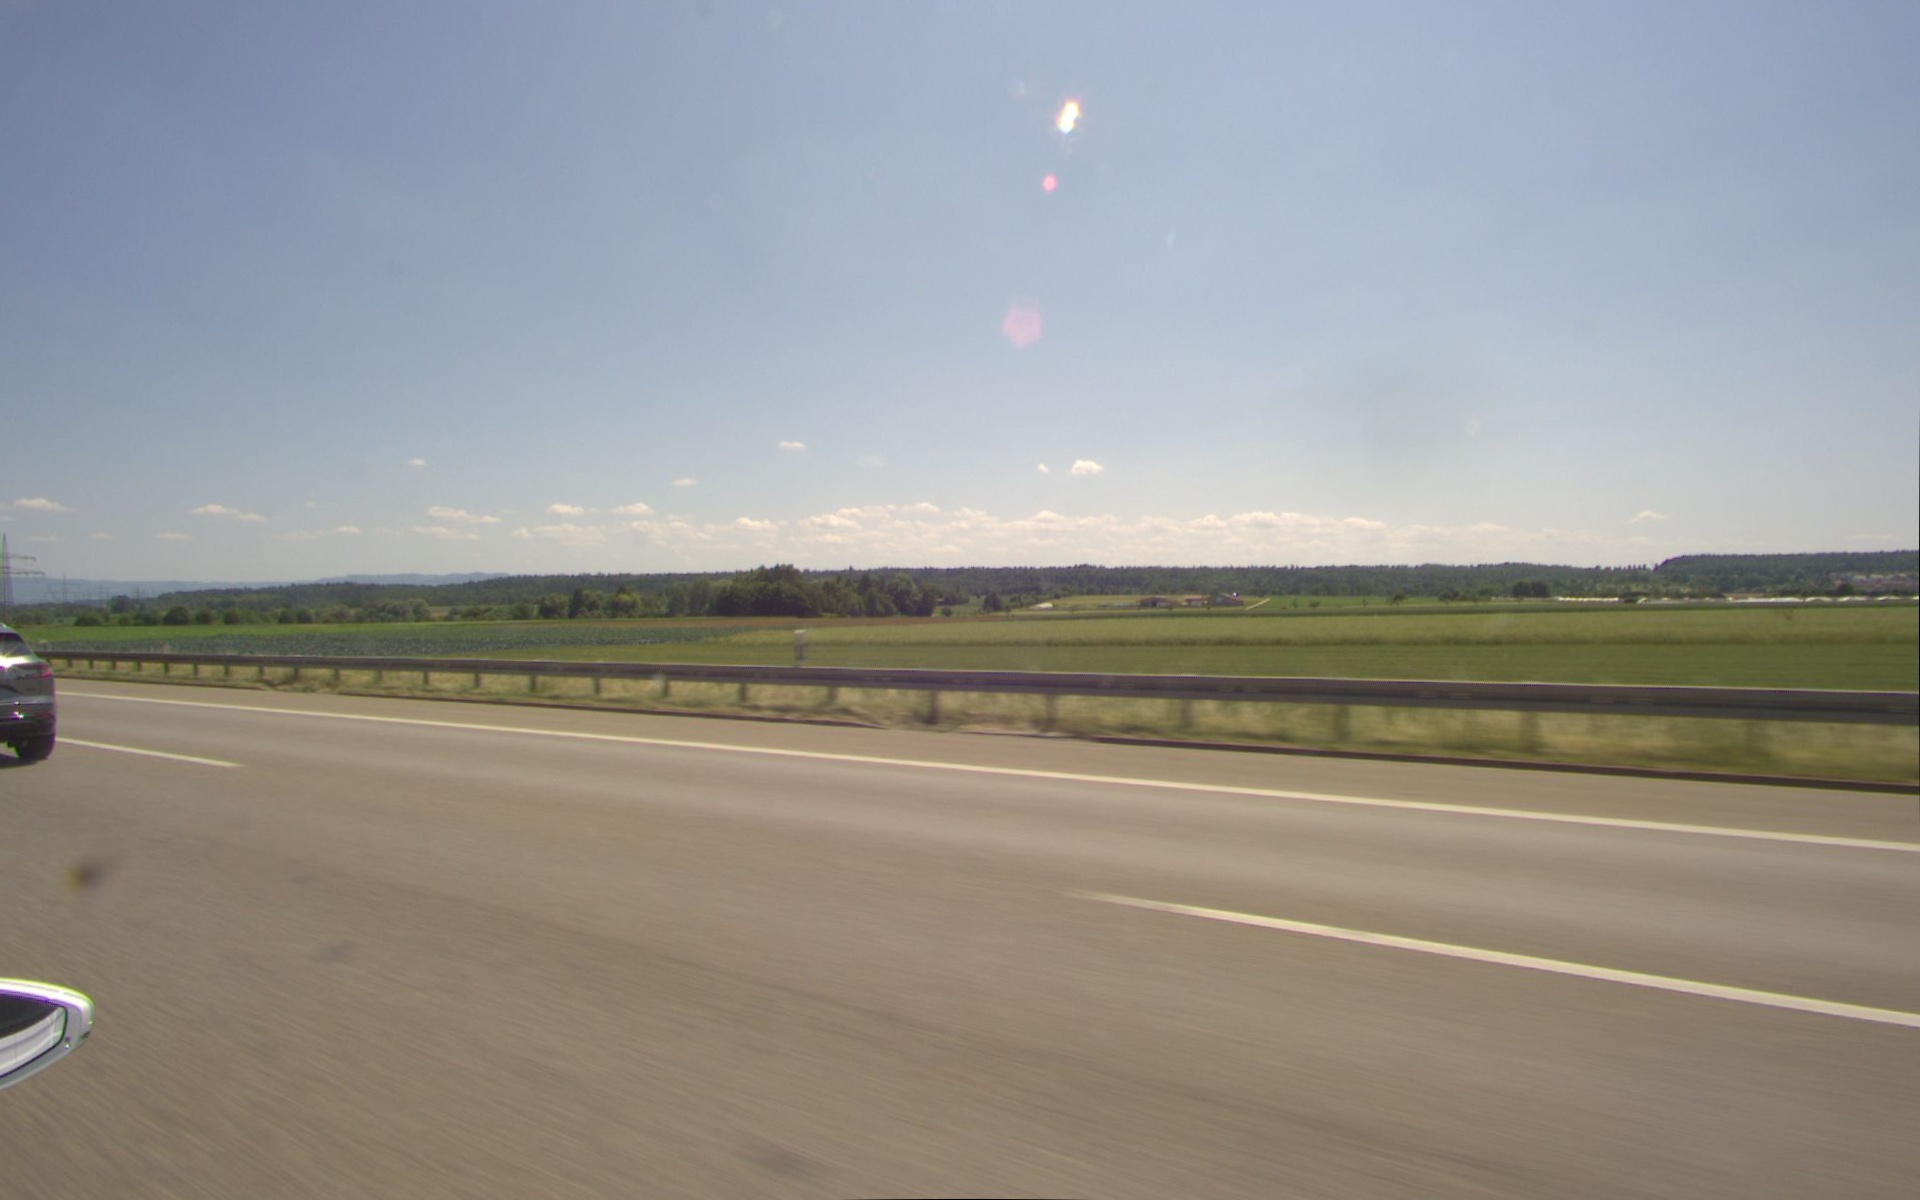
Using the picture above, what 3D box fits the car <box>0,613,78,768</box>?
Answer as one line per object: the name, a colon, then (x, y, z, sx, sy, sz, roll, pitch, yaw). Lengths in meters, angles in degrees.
car: (-12.426, 0.984, 11.804, 4.578, 1.670, 1.848, 0, -1, 32)
